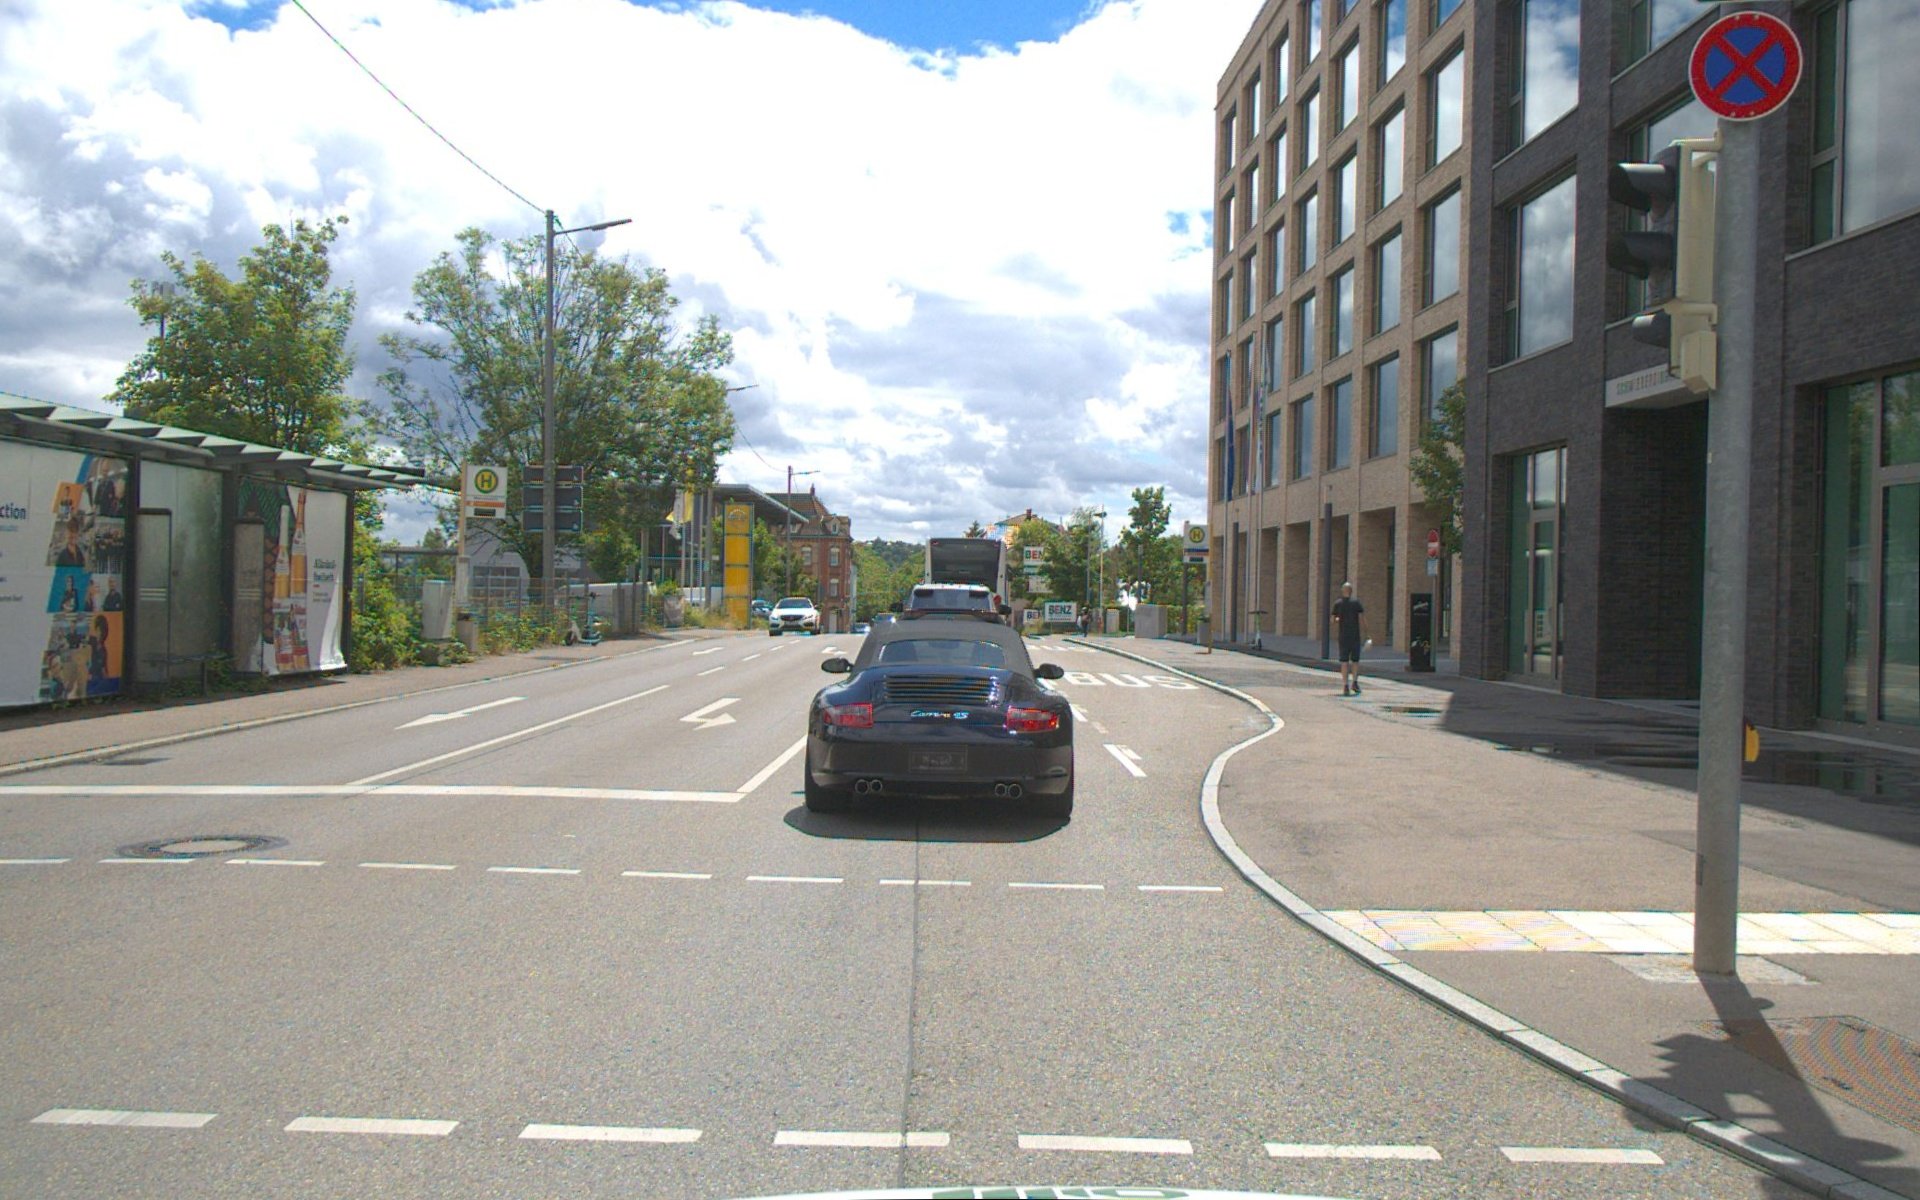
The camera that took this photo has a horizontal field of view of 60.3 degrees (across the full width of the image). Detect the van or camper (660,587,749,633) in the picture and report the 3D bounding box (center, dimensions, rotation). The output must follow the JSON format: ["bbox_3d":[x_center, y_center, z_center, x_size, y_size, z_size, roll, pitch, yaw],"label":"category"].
[{"bbox_3d":[-15.323,0.594,99.384,4.925,2.575,2.317,1,0,-2],"label":"van or camper"}]

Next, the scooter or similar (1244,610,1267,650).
[{"bbox_3d":[8.979,0.906,50.349,0.418,1.173,1.403,0,0,-1],"label":"scooter or similar"}]

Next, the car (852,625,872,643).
[{"bbox_3d":[-8.996,3.135,152.488,1.709,1.623,4.040,-1,-1,-2],"label":"car"}]

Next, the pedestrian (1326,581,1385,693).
[{"bbox_3d":[6.398,0.590,26.813,0.669,1.758,0.962,2,0,-1],"label":"pedestrian"}]

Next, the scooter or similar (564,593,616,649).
[{"bbox_3d":[-8.913,0.505,39.852,0.523,1.284,1.472,2,0,16],"label":"scooter or similar"}]

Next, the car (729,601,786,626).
[{"bbox_3d":[-13.855,0.947,113.218,1.891,1.600,4.552,0,-2,22],"label":"car"}]

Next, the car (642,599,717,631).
[{"bbox_3d":[-16.393,0.850,96.766,3.903,1.735,2.001,1,0,4],"label":"car"}]

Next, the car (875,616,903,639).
[{"bbox_3d":[-4.774,1.871,111.031,1.793,1.535,4.274,0,-1,-3],"label":"car"}]

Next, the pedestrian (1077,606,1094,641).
[{"bbox_3d":[5.724,1.076,75.644,0.673,1.563,0.856,1,-1,-1],"label":"pedestrian"}]

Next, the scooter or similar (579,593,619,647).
[{"bbox_3d":[-9.022,0.492,41.349,0.523,1.288,1.472,2,0,4],"label":"scooter or similar"}]

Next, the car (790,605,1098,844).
[{"bbox_3d":[-0.095,0.782,12.384,1.891,1.401,4.208,1,0,0],"label":"car"}]

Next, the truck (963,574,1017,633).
[{"bbox_3d":[1.585,0.176,91.258,2.658,3.108,7.711,1,0,-1],"label":"truck"}]

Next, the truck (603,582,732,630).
[{"bbox_3d":[-13.806,0.318,78.323,5.745,2.185,2.474,0,-2,-4],"label":"truck"}]

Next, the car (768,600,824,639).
[{"bbox_3d":[-6.298,0.725,63.839,1.760,1.401,4.224,0,1,-1],"label":"car"}]

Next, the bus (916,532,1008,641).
[{"bbox_3d":[0.124,-0.457,56.448,2.744,3.253,12.196,1,0,1],"label":"bus"}]

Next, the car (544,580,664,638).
[{"bbox_3d":[-13.432,0.335,62.610,4.078,2.049,2.197,1,0,-3],"label":"car"}]

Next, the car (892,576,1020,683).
[{"bbox_3d":[-0.140,0.446,27.549,1.892,1.610,4.205,1,0,-3],"label":"car"}]
